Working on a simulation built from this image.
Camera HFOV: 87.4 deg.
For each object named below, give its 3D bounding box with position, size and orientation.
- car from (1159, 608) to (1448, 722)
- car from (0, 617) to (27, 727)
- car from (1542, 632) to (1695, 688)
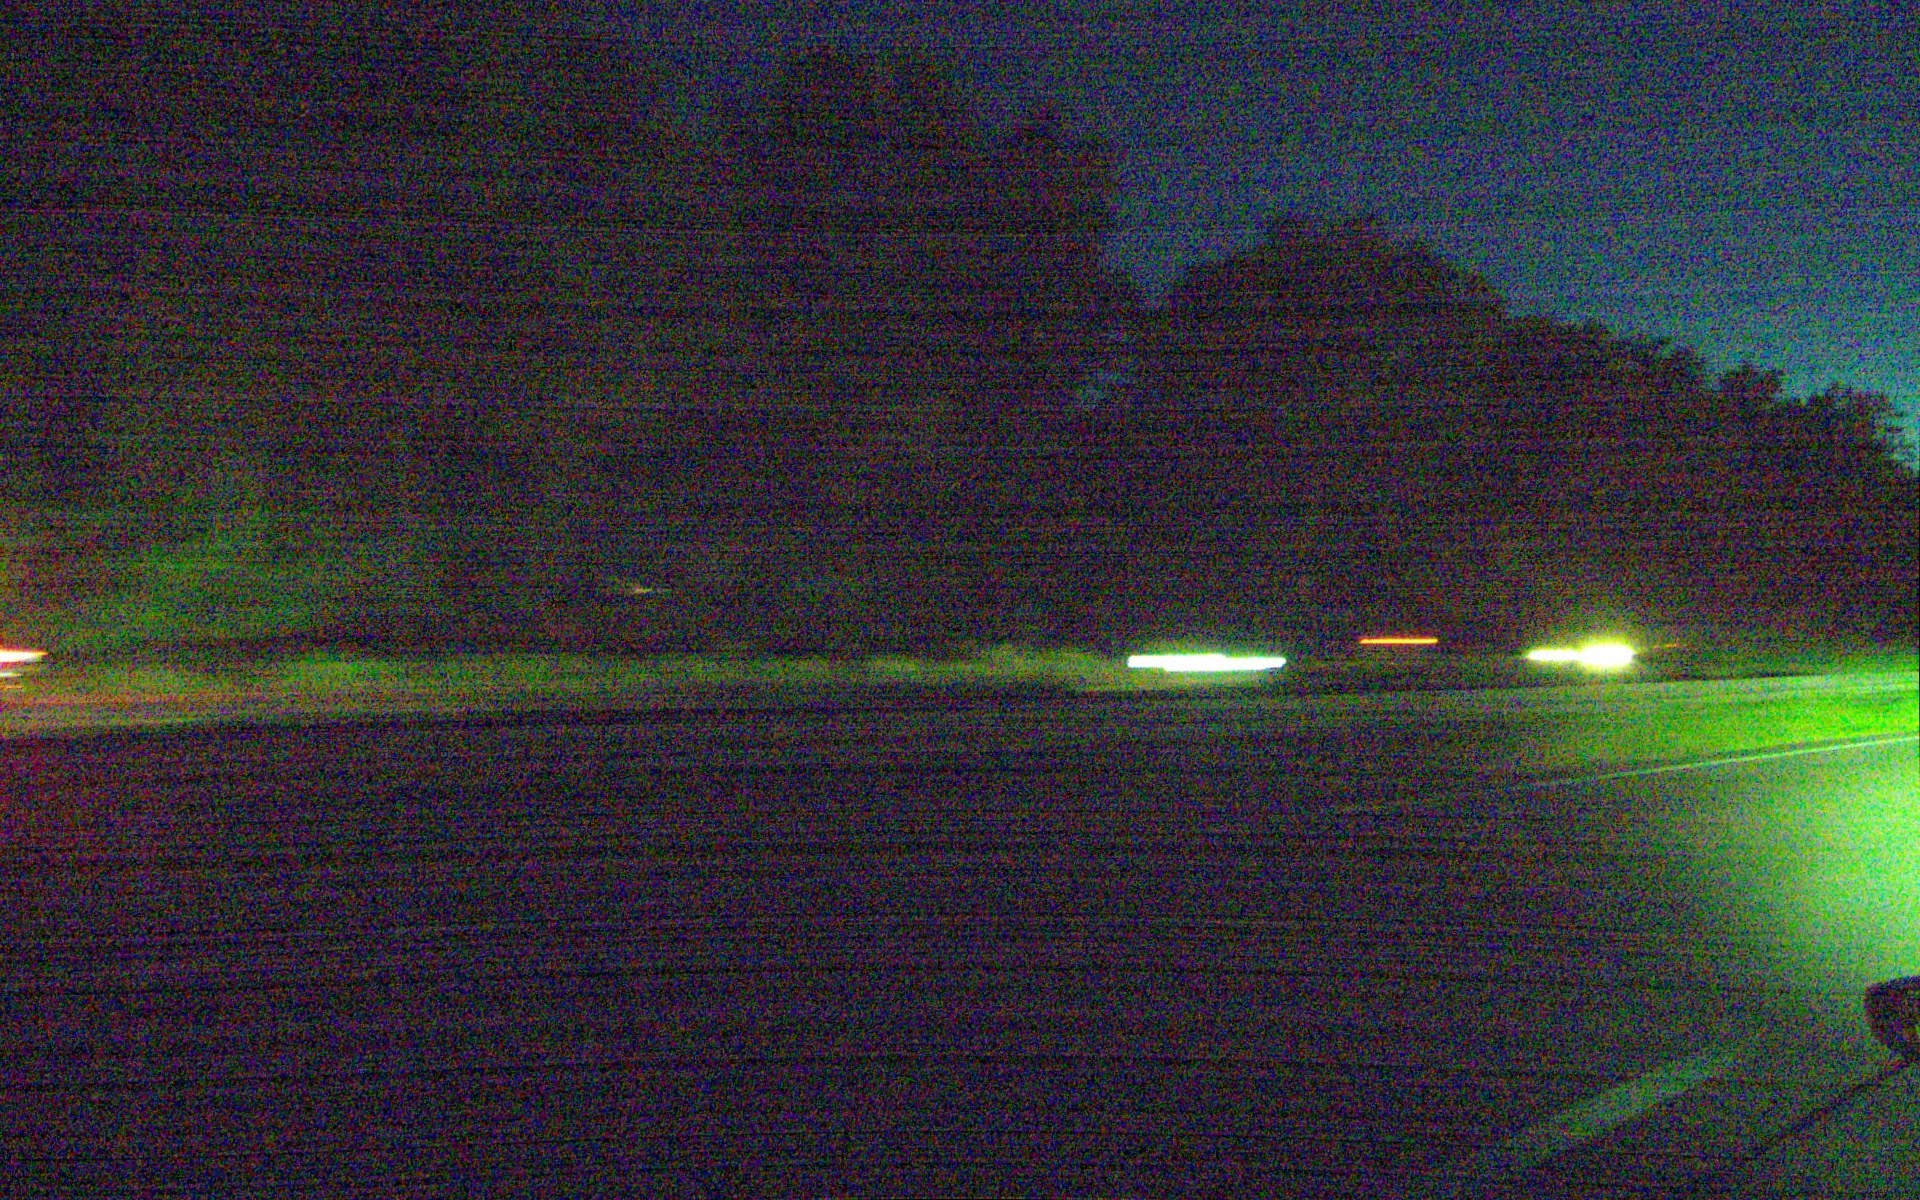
[{"bbox_3d":[6.074,1.068,17.621,5.017,1.756,1.950,1,-2,-29],"label":"car"},{"bbox_3d":[-14.918,0.913,12.311,4.790,1.430,1.762,2,-1,-32],"label":"car"},{"bbox_3d":[19.005,1.686,28.967,4.284,1.476,1.950,1,-2,-29],"label":"car"}]
